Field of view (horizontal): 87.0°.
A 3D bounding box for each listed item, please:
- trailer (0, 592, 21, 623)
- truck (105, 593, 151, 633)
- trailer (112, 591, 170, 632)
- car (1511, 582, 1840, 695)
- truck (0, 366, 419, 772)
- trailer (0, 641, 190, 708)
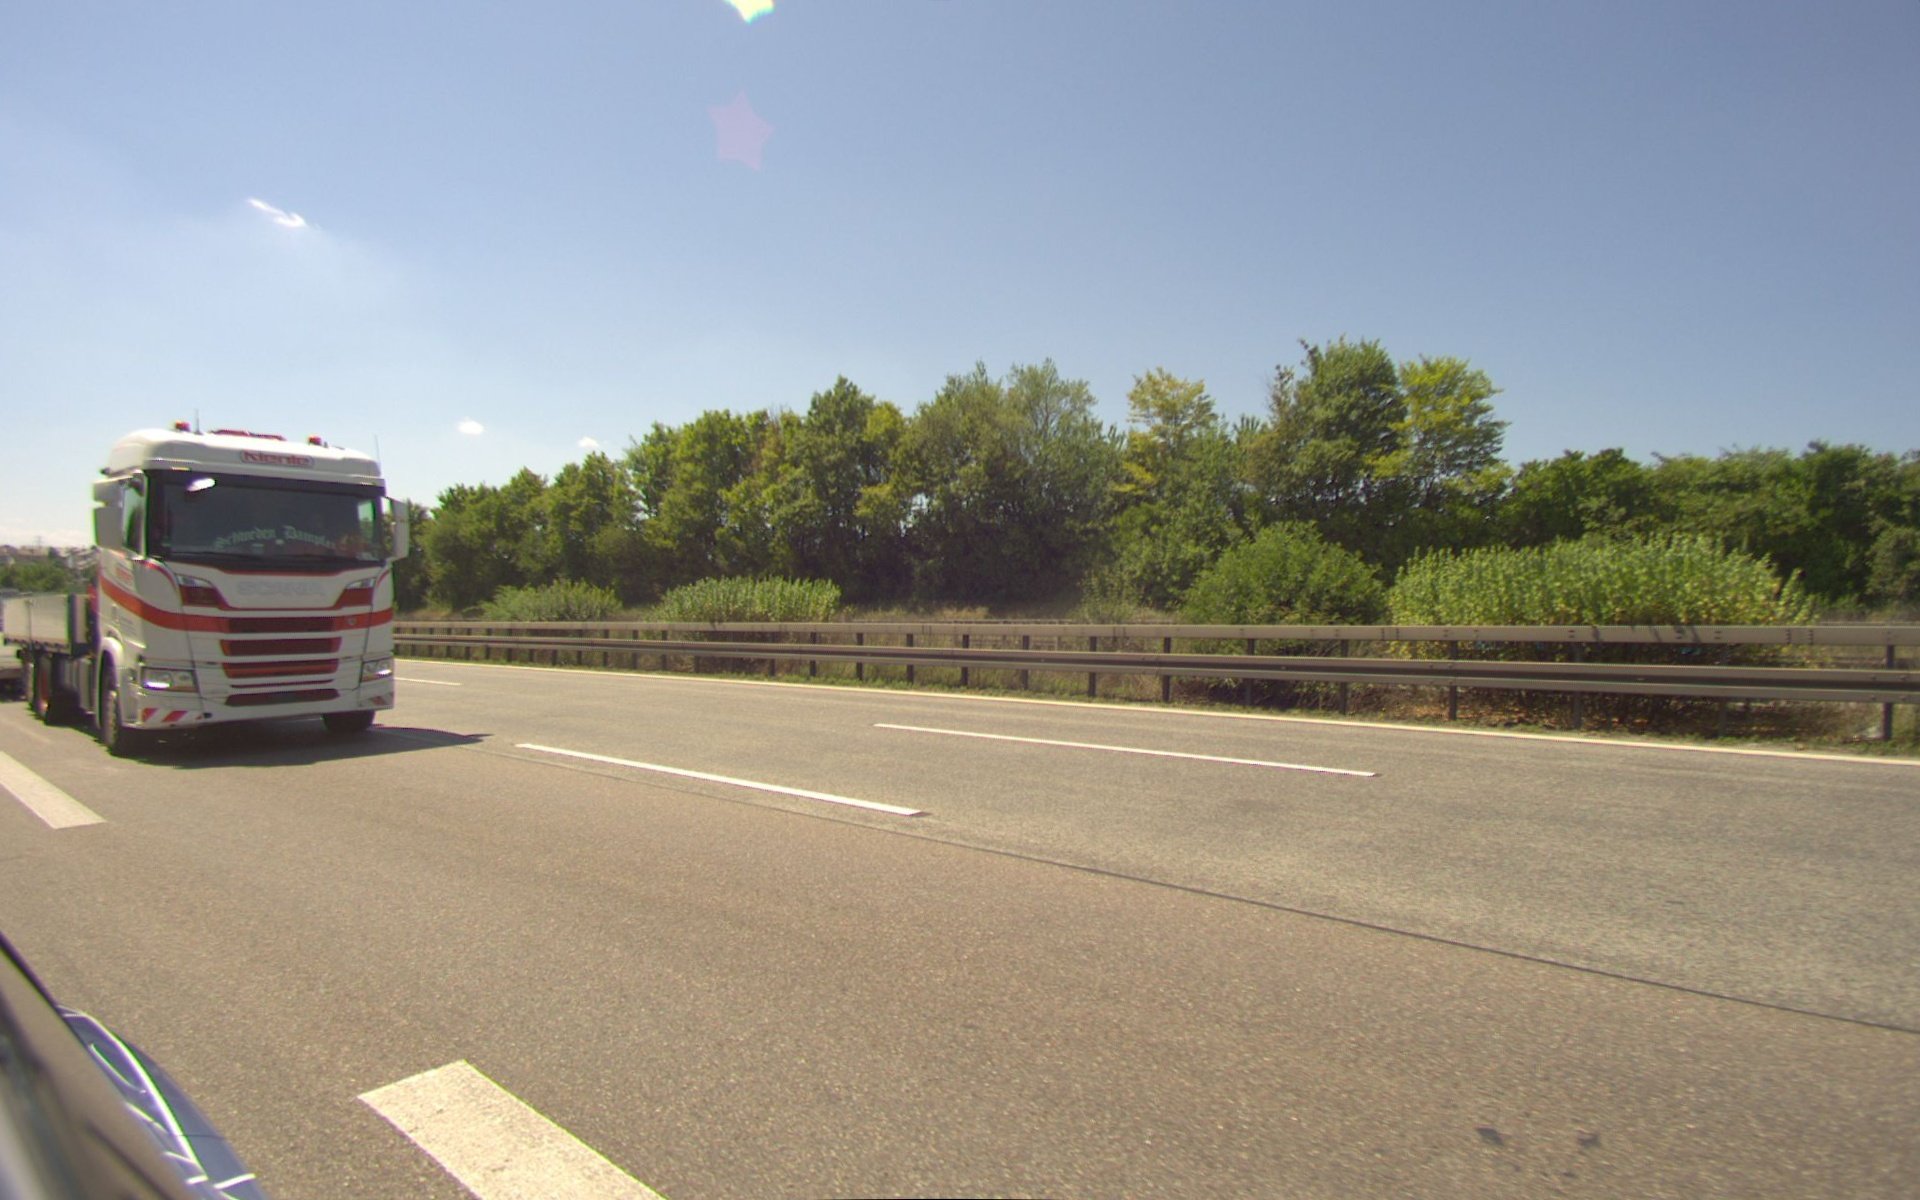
[{"bbox_3d":[-132.463,1.008,138.802,13.909,4.121,3.359,-1,0,39],"label":"trailer"},{"bbox_3d":[-85.365,1.345,103.788,5.740,3.918,2.668,-1,-1,40],"label":"truck"},{"bbox_3d":[-81.302,1.182,100.366,9.725,3.918,2.663,-1,-1,40],"label":"trailer"},{"bbox_3d":[10.801,0.542,15.435,3.917,1.499,1.803,-1,-1,42],"label":"car"},{"bbox_3d":[-11.075,-0.211,14.097,10.667,3.831,2.686,-1,-1,41],"label":"truck"},{"bbox_3d":[-17.922,1.363,20.142,7.756,0.941,2.686,-1,-1,41],"label":"trailer"}]
